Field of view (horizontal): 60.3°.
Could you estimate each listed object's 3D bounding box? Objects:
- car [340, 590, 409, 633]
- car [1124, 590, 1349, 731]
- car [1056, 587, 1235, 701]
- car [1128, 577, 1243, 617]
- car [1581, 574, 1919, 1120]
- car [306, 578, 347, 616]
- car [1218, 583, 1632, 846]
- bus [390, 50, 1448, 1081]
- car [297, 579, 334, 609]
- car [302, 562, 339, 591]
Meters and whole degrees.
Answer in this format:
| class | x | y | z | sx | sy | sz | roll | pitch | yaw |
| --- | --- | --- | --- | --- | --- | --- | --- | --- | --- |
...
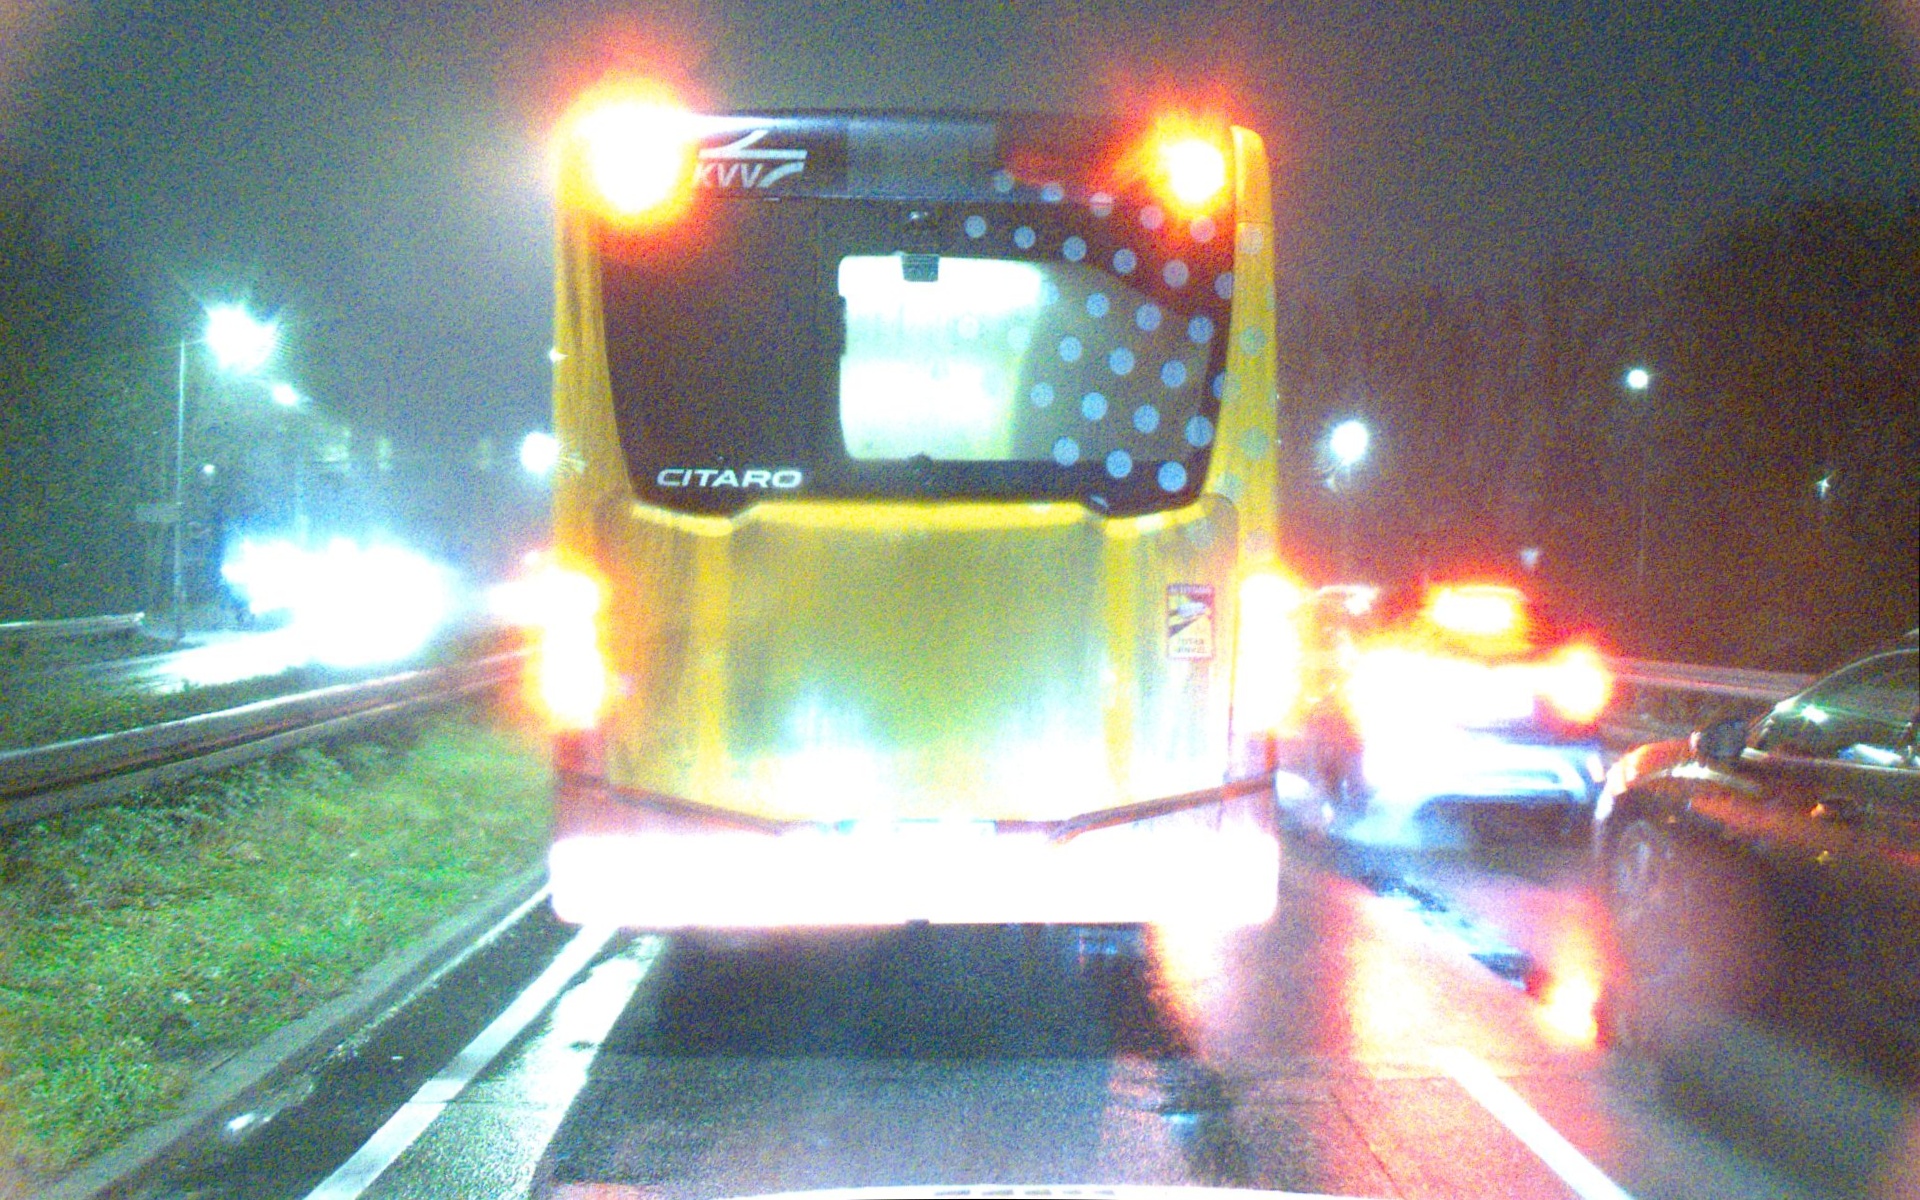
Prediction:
| class | x | y | z | sx | sy | sz | roll | pitch | yaw |
| --- | --- | --- | --- | --- | --- | --- | --- | --- | --- |
| car | -21.788 | 0.416 | 61.668 | 1.960 | 1.534 | 4.821 | 0 | 0 | -14 |
| car | 2.881 | 0.588 | 18.028 | 1.652 | 1.353 | 3.959 | 0 | 0 | -2 |
| car | 2.571 | 0.592 | 23.817 | 1.953 | 1.466 | 3.998 | 1 | 0 | -3 |
| car | 9.358 | -0.131 | 68.770 | 4.399 | 1.545 | 1.854 | 1 | 2 | -9 |
| car | 3.557 | 0.722 | 4.900 | 1.639 | 1.532 | 4.559 | 1 | 1 | -1 |
| car | -30.813 | -0.141 | 80.408 | 1.734 | 1.769 | 3.972 | 1 | 0 | -23 |
| car | 3.084 | 0.691 | 11.824 | 1.644 | 1.548 | 3.957 | 1 | 0 | -3 |
| bus | -0.292 | -0.234 | 9.827 | 3.219 | 3.103 | 9.540 | 0 | 2 | -2 |
| car | -37.188 | -0.361 | 95.382 | 1.743 | 1.659 | 4.217 | 0 | 1 | -25 |
| car | -33.475 | -1.213 | 86.497 | 1.605 | 1.393 | 3.694 | 1 | 0 | -24 |
